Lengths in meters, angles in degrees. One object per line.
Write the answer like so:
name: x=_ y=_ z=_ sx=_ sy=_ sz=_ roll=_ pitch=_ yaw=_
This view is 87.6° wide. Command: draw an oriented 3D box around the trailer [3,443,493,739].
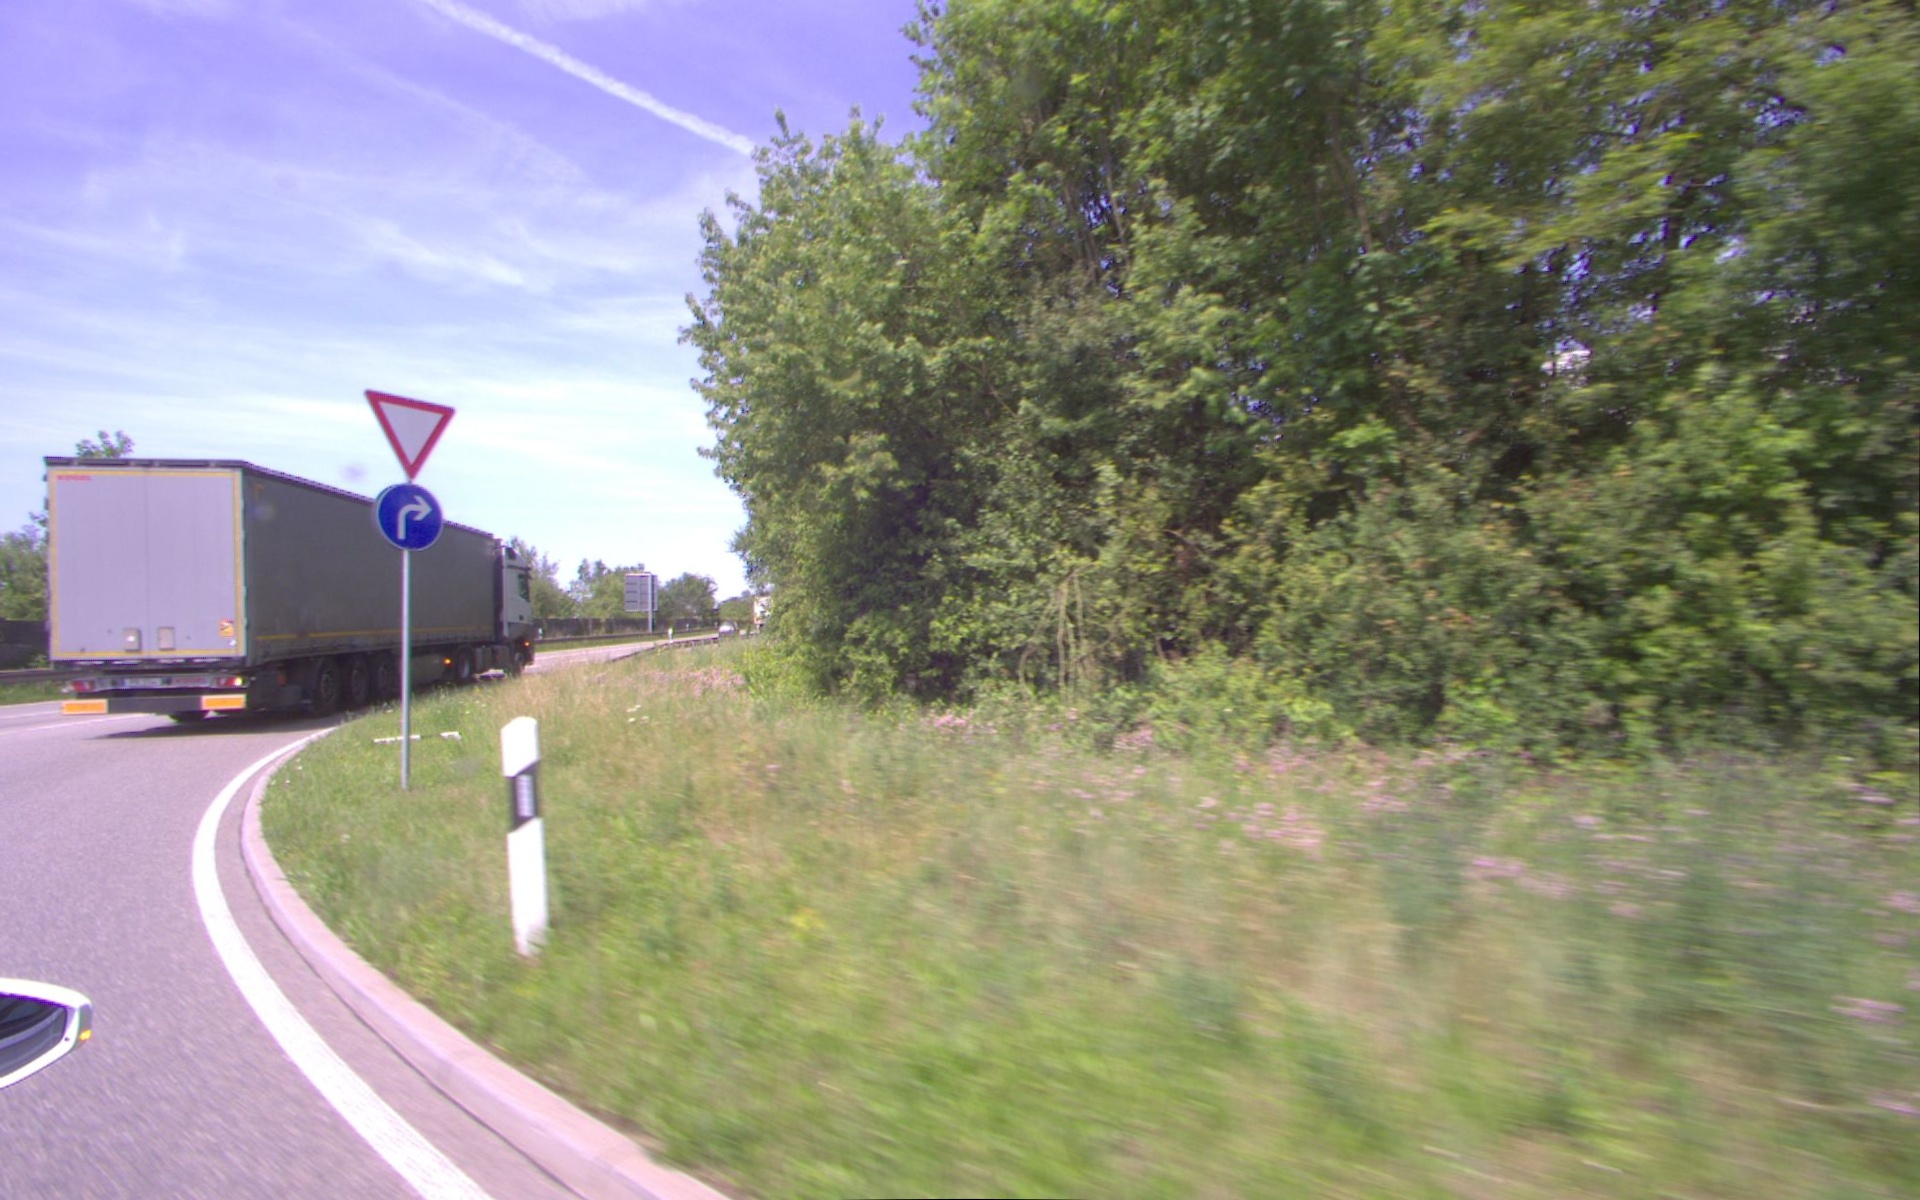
trailer: x=-13.017 y=0.059 z=20.663 sx=2.980 sy=4.086 sz=13.345 roll=-1 pitch=-2 yaw=-11

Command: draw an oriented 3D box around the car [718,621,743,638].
car: x=-21.124 y=2.666 z=92.105 sx=1.639 sy=1.506 sz=4.000 roll=0 pitch=-1 yaw=-4

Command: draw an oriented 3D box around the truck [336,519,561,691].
truck: x=-14.319 y=0.250 z=28.846 sx=3.102 sy=4.278 sz=7.125 roll=-1 pitch=-2 yaw=-3

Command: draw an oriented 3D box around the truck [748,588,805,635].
truck: x=-20.257 y=1.409 z=111.843 sx=3.766 sy=4.806 sz=16.206 roll=-1 pitch=-1 yaw=-2
